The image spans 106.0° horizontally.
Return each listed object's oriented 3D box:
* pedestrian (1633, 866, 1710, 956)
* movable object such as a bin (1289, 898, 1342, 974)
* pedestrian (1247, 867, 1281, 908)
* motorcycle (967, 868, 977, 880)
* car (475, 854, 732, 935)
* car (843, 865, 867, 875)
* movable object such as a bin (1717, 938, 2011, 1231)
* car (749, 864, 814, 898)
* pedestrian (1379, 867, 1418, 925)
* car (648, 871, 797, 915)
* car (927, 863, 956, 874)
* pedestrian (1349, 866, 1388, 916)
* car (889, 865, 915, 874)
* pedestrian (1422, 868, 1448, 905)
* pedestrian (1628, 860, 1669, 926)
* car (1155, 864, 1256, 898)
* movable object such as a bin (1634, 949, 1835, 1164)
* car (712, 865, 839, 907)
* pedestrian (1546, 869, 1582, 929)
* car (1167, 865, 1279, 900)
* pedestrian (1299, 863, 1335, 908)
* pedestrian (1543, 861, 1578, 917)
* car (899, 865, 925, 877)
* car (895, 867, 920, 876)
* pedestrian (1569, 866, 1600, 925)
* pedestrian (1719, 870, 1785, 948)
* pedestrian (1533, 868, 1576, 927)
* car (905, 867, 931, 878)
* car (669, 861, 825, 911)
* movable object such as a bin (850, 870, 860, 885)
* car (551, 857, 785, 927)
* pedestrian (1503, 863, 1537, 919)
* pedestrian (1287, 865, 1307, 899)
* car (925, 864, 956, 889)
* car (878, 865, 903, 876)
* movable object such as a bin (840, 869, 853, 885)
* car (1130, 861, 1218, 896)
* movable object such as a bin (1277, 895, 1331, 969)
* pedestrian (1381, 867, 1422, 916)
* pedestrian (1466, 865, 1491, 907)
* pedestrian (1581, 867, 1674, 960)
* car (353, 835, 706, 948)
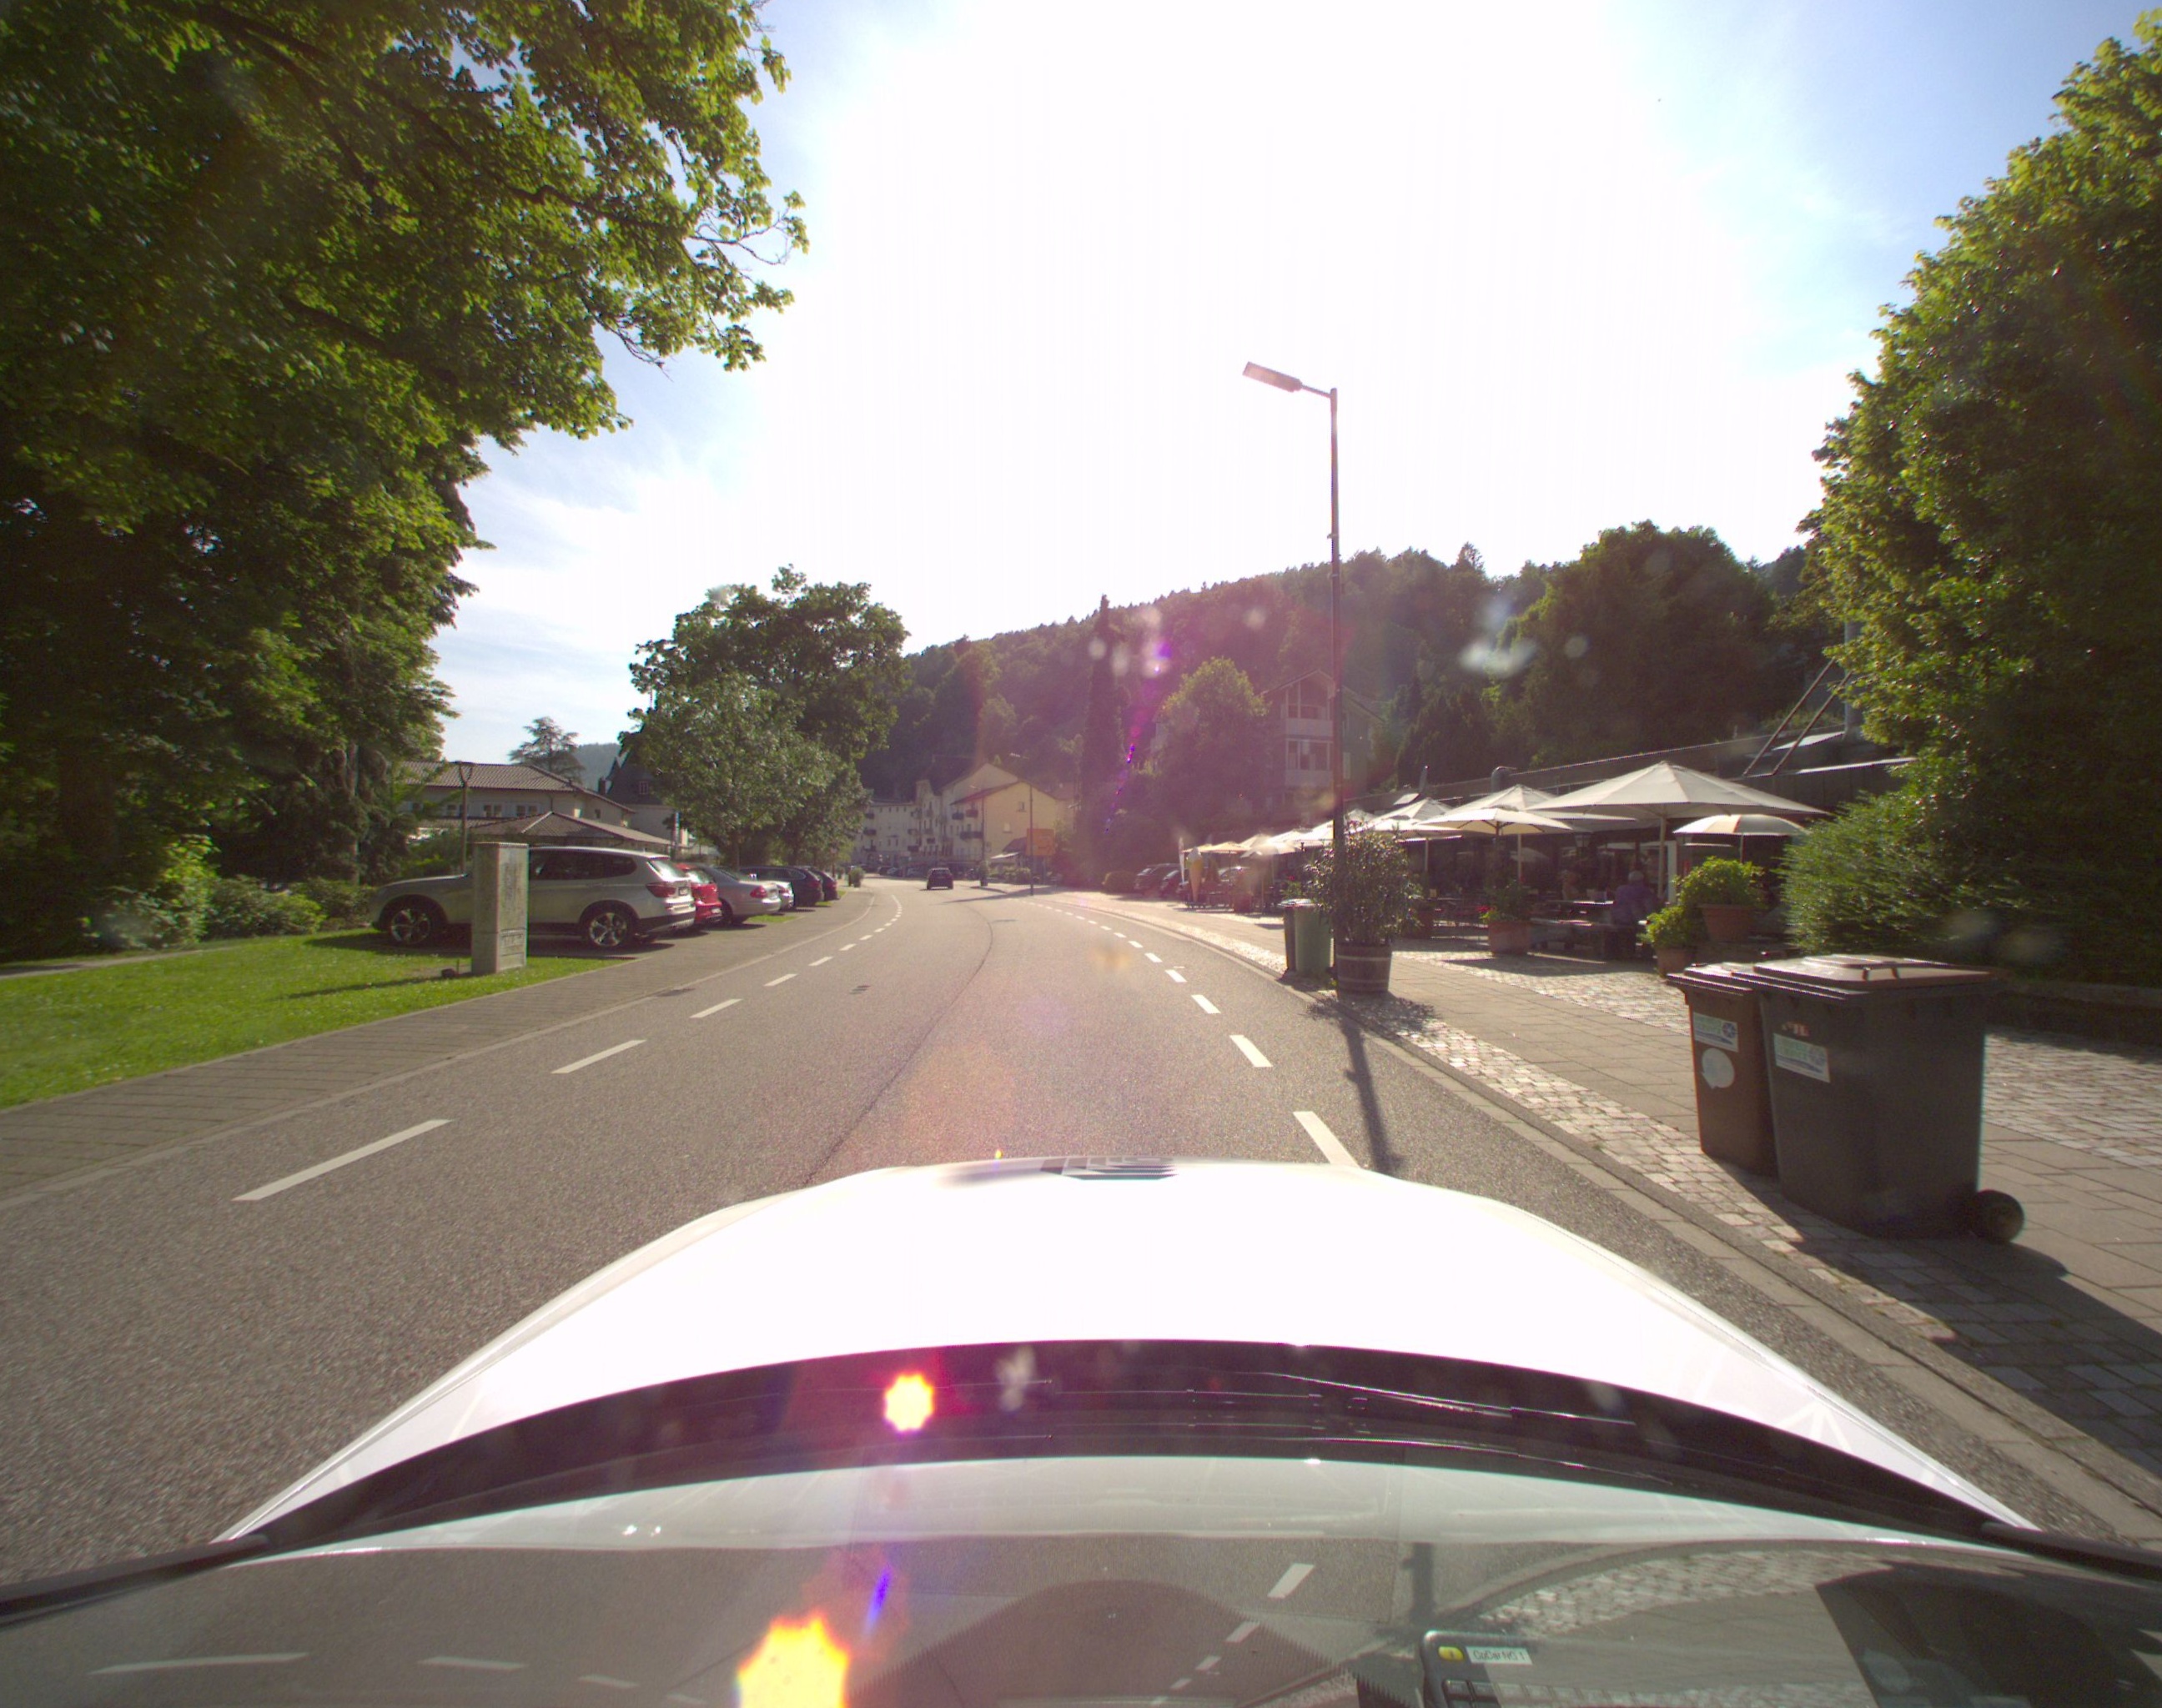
[{"bbox_3d":[8.821,0.836,12.180,0.649,1.284,0.642,-1,-1,-15],"label":"pedestrian"},{"bbox_3d":[2.966,1.029,10.341,0.512,0.912,0.441,-1,0,-3],"label":"movable object such as a bin"},{"bbox_3d":[5.833,1.045,25.966,0.813,1.261,0.695,-1,-1,-22],"label":"pedestrian"},{"bbox_3d":[-12.121,2.193,90.470,0.699,1.296,2.199,-2,0,-18],"label":"motorcycle"},{"bbox_3d":[-9.296,0.810,16.213,3.989,1.433,1.713,2,-2,-12],"label":"car"},{"bbox_3d":[-43.551,3.053,156.914,4.016,1.662,1.979,-1,0,-35],"label":"car"},{"bbox_3d":[3.211,0.908,3.391,0.654,1.032,0.571,-2,0,-1],"label":"movable object such as a bin"},{"bbox_3d":[-14.685,1.313,40.088,2.649,1.547,1.677,2,-2,-8],"label":"car"},{"bbox_3d":[7.073,0.927,18.139,0.474,1.245,0.588,-1,-2,-29],"label":"pedestrian"},{"bbox_3d":[-10.553,1.159,24.269,3.800,1.243,1.754,1,-2,-15],"label":"car"},{"bbox_3d":[-21.088,2.215,123.250,3.879,1.555,1.745,3,-2,-27],"label":"car"},{"bbox_3d":[7.441,0.960,21.114,0.806,1.261,0.701,-1,-1,5],"label":"pedestrian"},{"bbox_3d":[-32.320,2.842,147.087,4.373,1.461,1.759,2,-3,-22],"label":"car"},{"bbox_3d":[11.525,1.053,26.520,0.680,1.209,0.704,-1,-1,18],"label":"pedestrian"},{"bbox_3d":[11.216,0.758,16.097,0.407,1.267,0.508,-1,-1,-3],"label":"pedestrian"},{"bbox_3d":[5.520,1.190,36.206,4.113,1.415,1.741,0,-1,-13],"label":"car"},{"bbox_3d":[3.209,0.967,4.042,0.523,0.912,0.563,-2,0,-1],"label":"movable object such as a bin"},{"bbox_3d":[-11.384,1.192,30.573,4.289,1.432,1.701,2,-2,-20],"label":"car"},{"bbox_3d":[10.466,0.970,17.664,0.470,1.265,0.438,-1,-1,-17],"label":"pedestrian"},{"bbox_3d":[5.901,1.163,33.917,4.266,1.379,1.701,0,-1,-13],"label":"car"},{"bbox_3d":[7.350,0.966,25.328,0.704,1.381,0.802,0,-1,-44],"label":"pedestrian"},{"bbox_3d":[11.324,0.822,19.244,0.573,1.282,0.642,-2,-1,40],"label":"pedestrian"},{"bbox_3d":[-28.749,2.934,138.547,3.927,1.805,1.843,4,-3,-24],"label":"car"},{"bbox_3d":[-30.087,3.062,140.897,3.927,1.461,1.722,3,-2,-24],"label":"car"},{"bbox_3d":[10.699,0.876,17.312,0.464,1.231,0.393,-2,-1,22],"label":"pedestrian"},{"bbox_3d":[10.984,0.883,13.345,0.504,1.231,0.701,-2,-1,6],"label":"pedestrian"},{"bbox_3d":[10.692,0.968,18.412,0.530,1.304,0.606,-1,-1,-16],"label":"pedestrian"},{"bbox_3d":[-27.328,3.084,136.153,3.927,1.589,1.761,3,-2,-24],"label":"car"},{"bbox_3d":[-10.883,1.055,26.875,4.501,1.510,1.704,2,-1,-15],"label":"car"},{"bbox_3d":[-21.371,2.217,77.005,0.757,1.342,1.287,2,-2,-17],"label":"movable object such as a bin"},{"bbox_3d":[-9.463,0.885,19.044,4.485,1.418,1.802,2,-2,-12],"label":"car"},{"bbox_3d":[10.595,0.886,19.649,0.573,1.304,0.642,-2,-1,40],"label":"pedestrian"},{"bbox_3d":[8.146,1.057,30.707,0.693,1.261,0.815,-1,-1,13],"label":"pedestrian"},{"bbox_3d":[-10.226,1.616,59.051,1.732,1.574,3.731,2,0,-18],"label":"car"},{"bbox_3d":[-35.327,3.081,150.946,4.102,1.666,1.758,4,-2,-24],"label":"car"},{"bbox_3d":[-21.527,2.068,74.743,1.081,1.427,1.369,2,-2,-17],"label":"movable object such as a bin"},{"bbox_3d":[4.433,1.152,39.088,3.879,1.580,1.741,0,-1,-13],"label":"car"},{"bbox_3d":[2.973,1.033,10.898,0.546,0.925,0.519,-1,0,-3],"label":"movable object such as a bin"},{"bbox_3d":[8.558,0.999,21.774,0.802,1.261,0.705,-2,-1,41],"label":"pedestrian"},{"bbox_3d":[12.696,1.010,26.009,0.679,1.299,0.641,-1,-1,26],"label":"pedestrian"},{"bbox_3d":[7.978,0.839,11.901,0.950,1.284,0.642,-1,-1,-15],"label":"pedestrian"},{"bbox_3d":[-9.022,0.649,13.774,4.485,1.664,1.802,2,-2,-12],"label":"car"}]
